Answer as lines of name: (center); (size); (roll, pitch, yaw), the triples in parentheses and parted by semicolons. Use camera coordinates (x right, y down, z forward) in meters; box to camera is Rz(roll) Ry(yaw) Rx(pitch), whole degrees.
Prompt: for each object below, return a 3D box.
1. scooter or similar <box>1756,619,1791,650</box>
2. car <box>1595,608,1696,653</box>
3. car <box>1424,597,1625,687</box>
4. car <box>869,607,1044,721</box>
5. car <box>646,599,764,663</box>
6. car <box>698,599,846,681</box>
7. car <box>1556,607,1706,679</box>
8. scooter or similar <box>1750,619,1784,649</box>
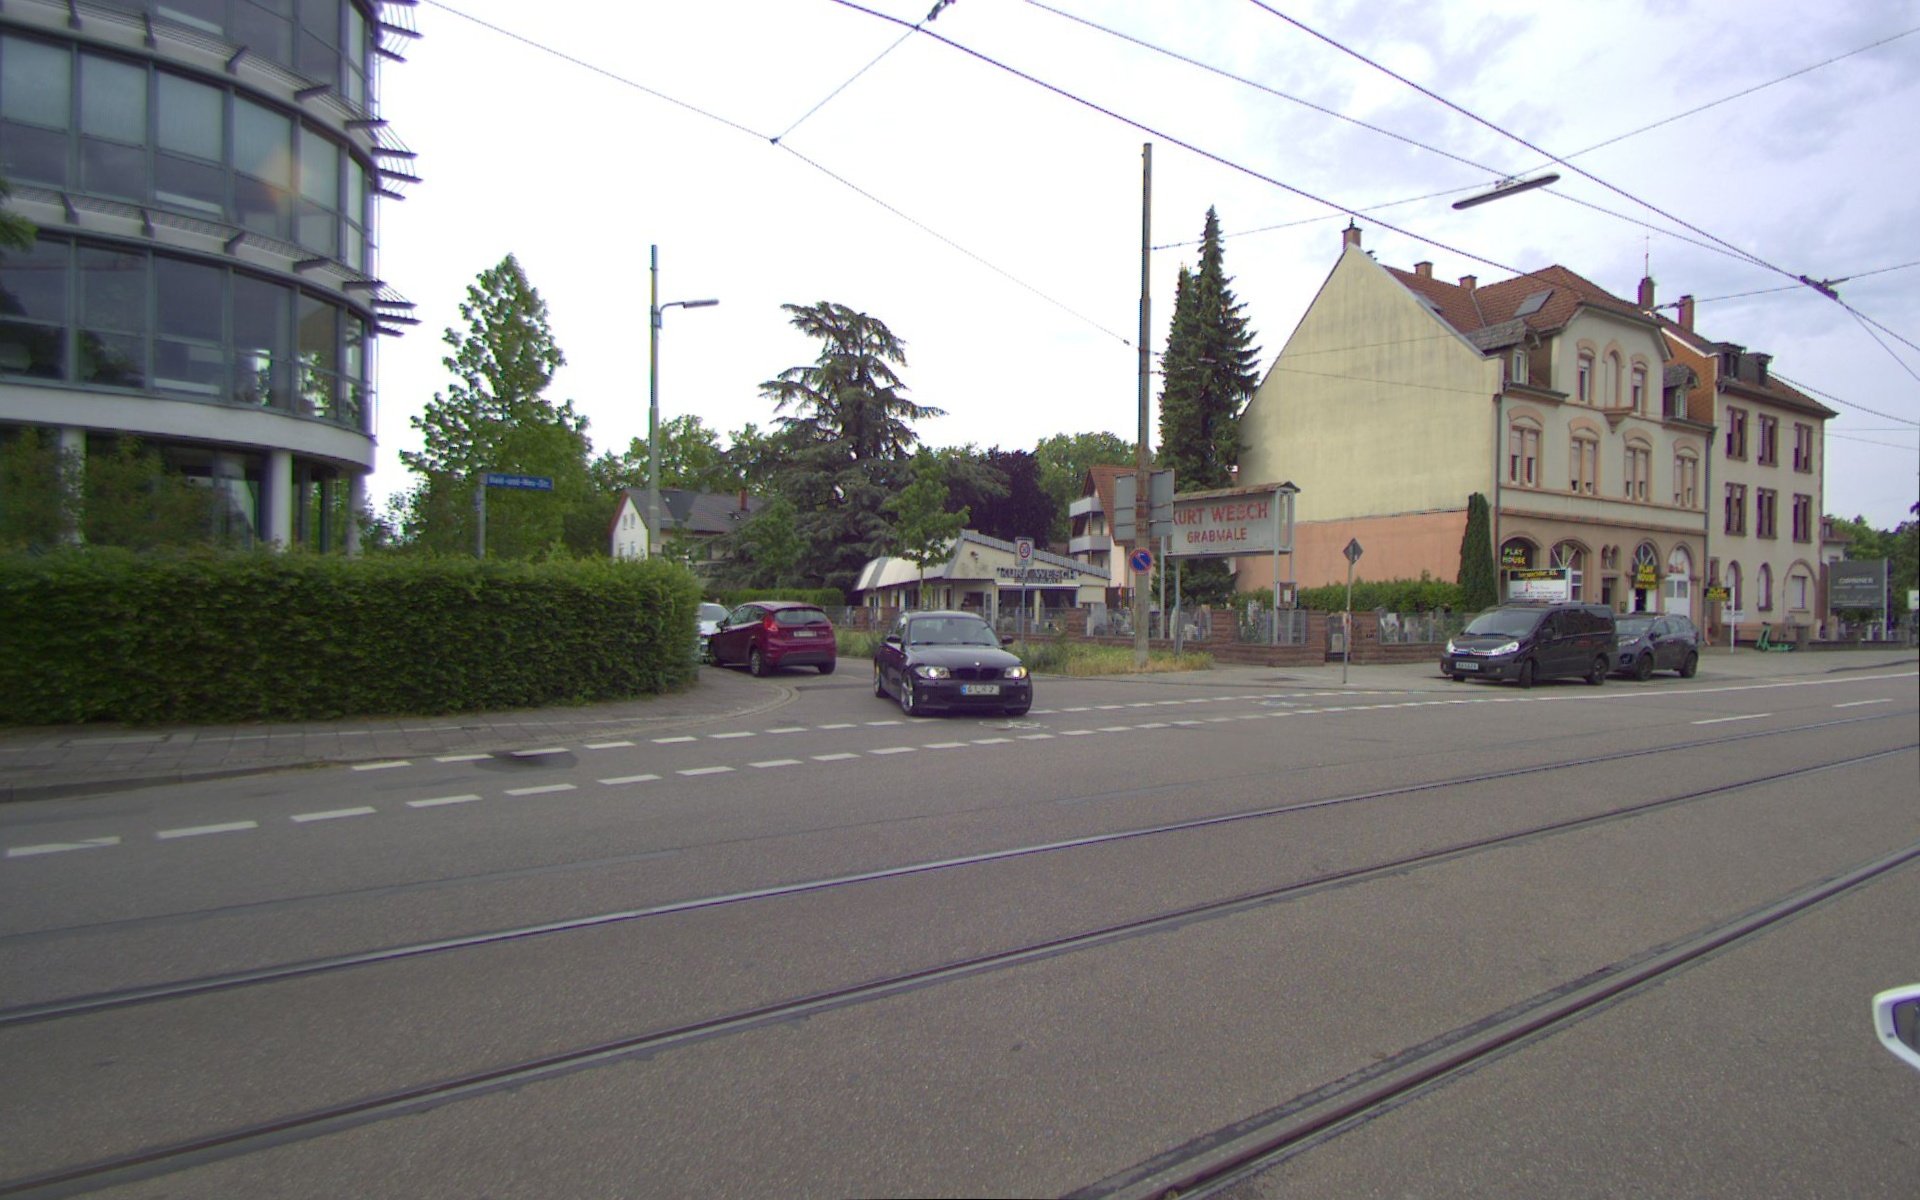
scooter or similar: (33.288, 1.401, 41.091); (1.032, 1.204, 0.318); (2, 1, 25)
car: (25.317, 1.115, 37.094); (3.706, 1.520, 1.743); (2, 1, -32)
car: (13.456, 0.968, 23.858); (4.942, 1.912, 1.981); (2, 1, -31)
car: (-0.202, 0.831, 14.754); (1.771, 1.406, 3.923); (1, 0, -13)
car: (-6.400, 0.740, 24.935); (1.811, 1.439, 3.968); (2, -1, -30)
car: (-3.989, 0.755, 20.925); (1.749, 1.437, 3.687); (-1, 2, -33)
car: (18.234, 1.145, 27.248); (4.147, 1.741, 1.834); (2, 1, -32)
scooter or similar: (33.474, 1.405, 41.664); (1.032, 1.204, 0.318); (2, 1, 25)
